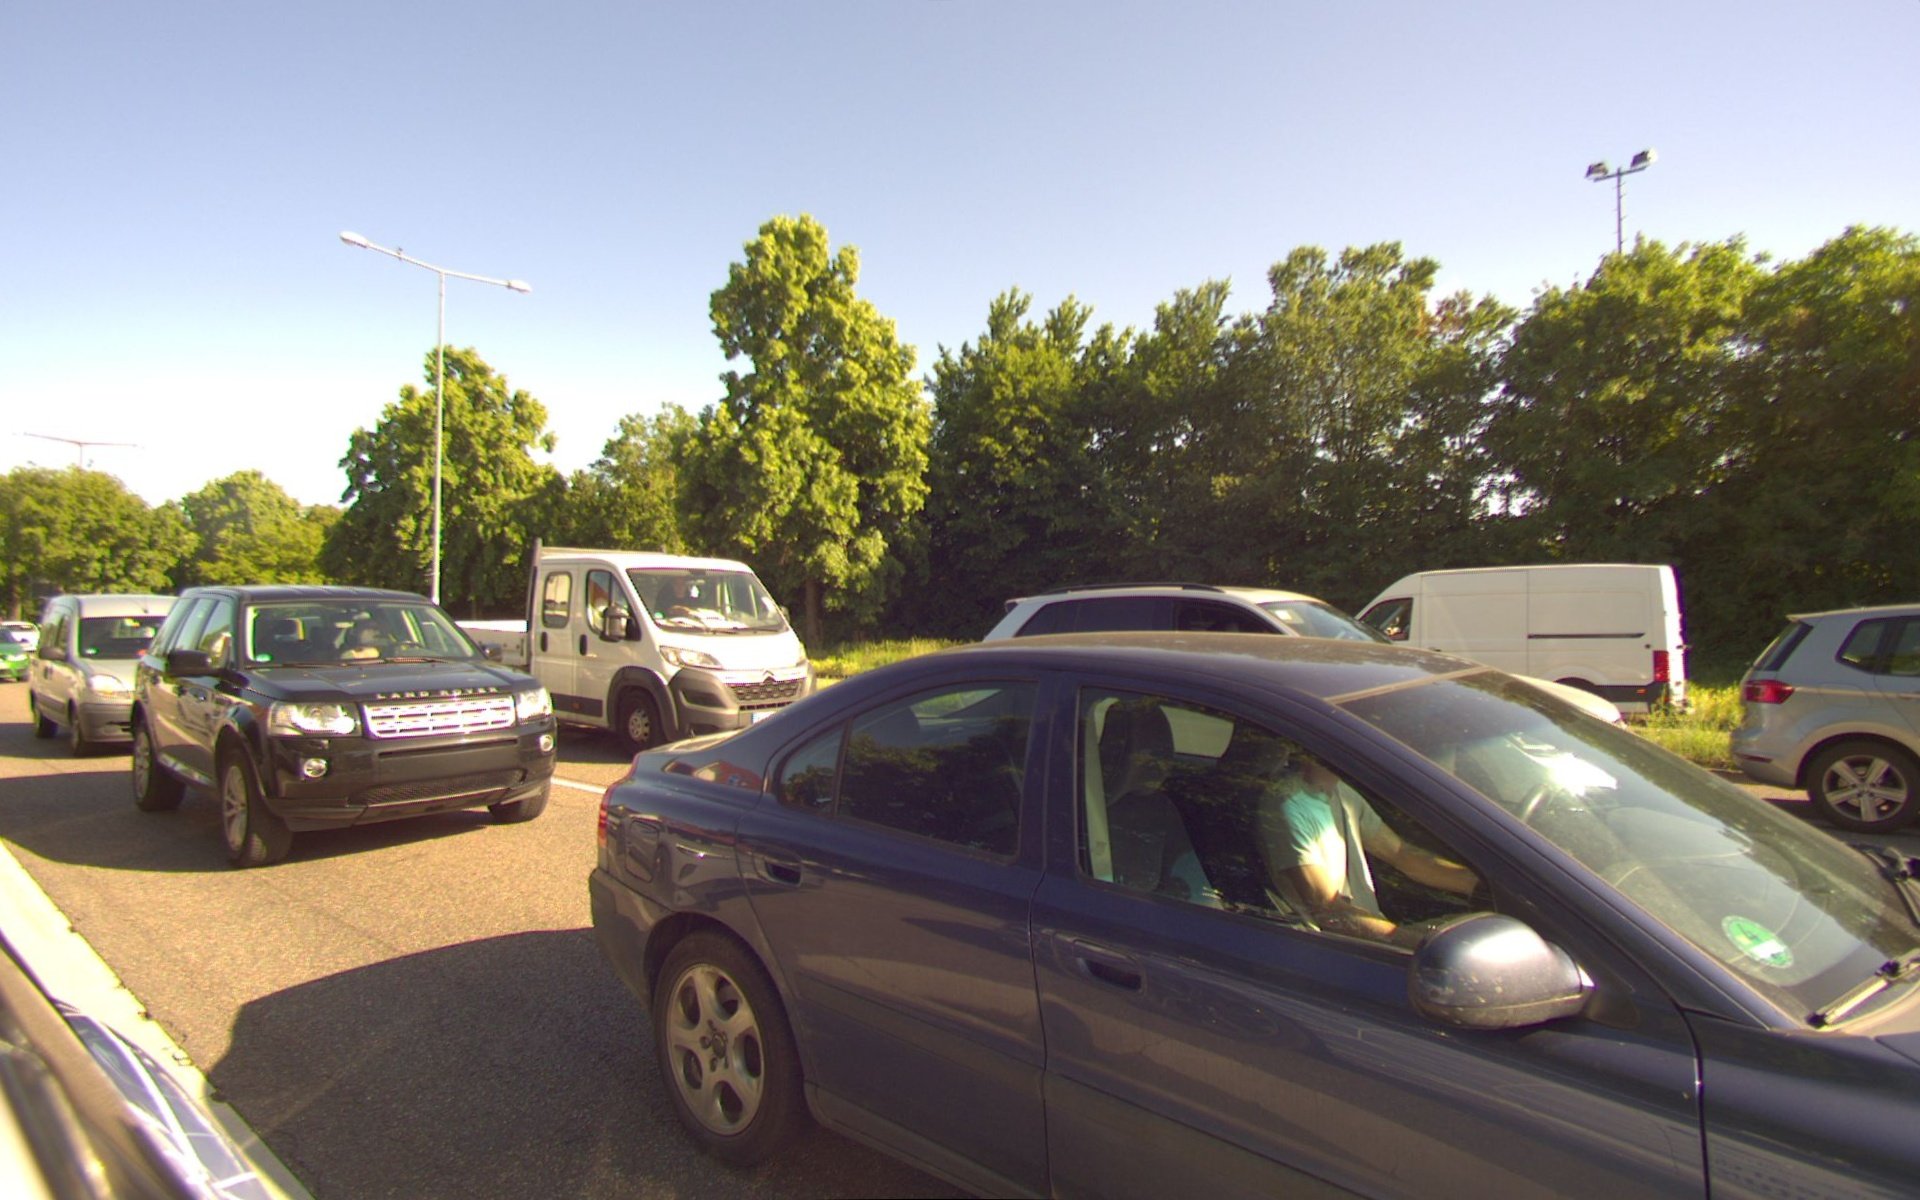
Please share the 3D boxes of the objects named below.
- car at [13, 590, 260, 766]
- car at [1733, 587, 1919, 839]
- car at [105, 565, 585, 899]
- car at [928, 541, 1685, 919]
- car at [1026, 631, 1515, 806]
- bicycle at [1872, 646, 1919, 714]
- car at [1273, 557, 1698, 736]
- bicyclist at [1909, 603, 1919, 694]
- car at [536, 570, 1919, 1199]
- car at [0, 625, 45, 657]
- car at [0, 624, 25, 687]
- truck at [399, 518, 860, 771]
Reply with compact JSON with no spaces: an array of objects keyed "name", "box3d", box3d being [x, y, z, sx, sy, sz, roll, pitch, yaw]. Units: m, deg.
[{"name":"car","box3d":[-10.049,0.807,12.226,4.384,1.765,1.611,-1,-1,41]},{"name":"car","box3d":[7.634,0.728,6.418,4.206,1.623,1.810,-2,-3,42]},{"name":"car","box3d":[-4.692,0.712,7.425,4.384,1.744,1.793,-1,-1,41]},{"name":"car","box3d":[2.066,0.666,6.833,4.422,1.723,1.973,-2,-3,41]},{"name":"car","box3d":[3.035,1.052,10.551,4.550,1.440,1.811,-2,-3,41]},{"name":"bicycle","box3d":[18.130,1.443,18.133,2.531,1.221,0.867,-1,-3,36]},{"name":"car","box3d":[8.561,0.737,16.975,6.000,2.511,2.078,-2,-3,41]},{"name":"bicyclist","box3d":[18.056,0.882,18.270,1.197,1.661,0.868,-1,-3,36]},{"name":"car","box3d":[0.895,0.700,2.429,4.454,1.463,1.757,-1,0,41]},{"name":"car","box3d":[-44.919,1.948,47.878,3.994,1.456,1.706,-1,-3,38]},{"name":"car","box3d":[-24.359,1.349,24.859,3.929,1.486,1.610,-2,-2,41]},{"name":"truck","box3d":[-4.377,0.448,12.434,6.838,2.337,2.158,-1,-1,40]}]
